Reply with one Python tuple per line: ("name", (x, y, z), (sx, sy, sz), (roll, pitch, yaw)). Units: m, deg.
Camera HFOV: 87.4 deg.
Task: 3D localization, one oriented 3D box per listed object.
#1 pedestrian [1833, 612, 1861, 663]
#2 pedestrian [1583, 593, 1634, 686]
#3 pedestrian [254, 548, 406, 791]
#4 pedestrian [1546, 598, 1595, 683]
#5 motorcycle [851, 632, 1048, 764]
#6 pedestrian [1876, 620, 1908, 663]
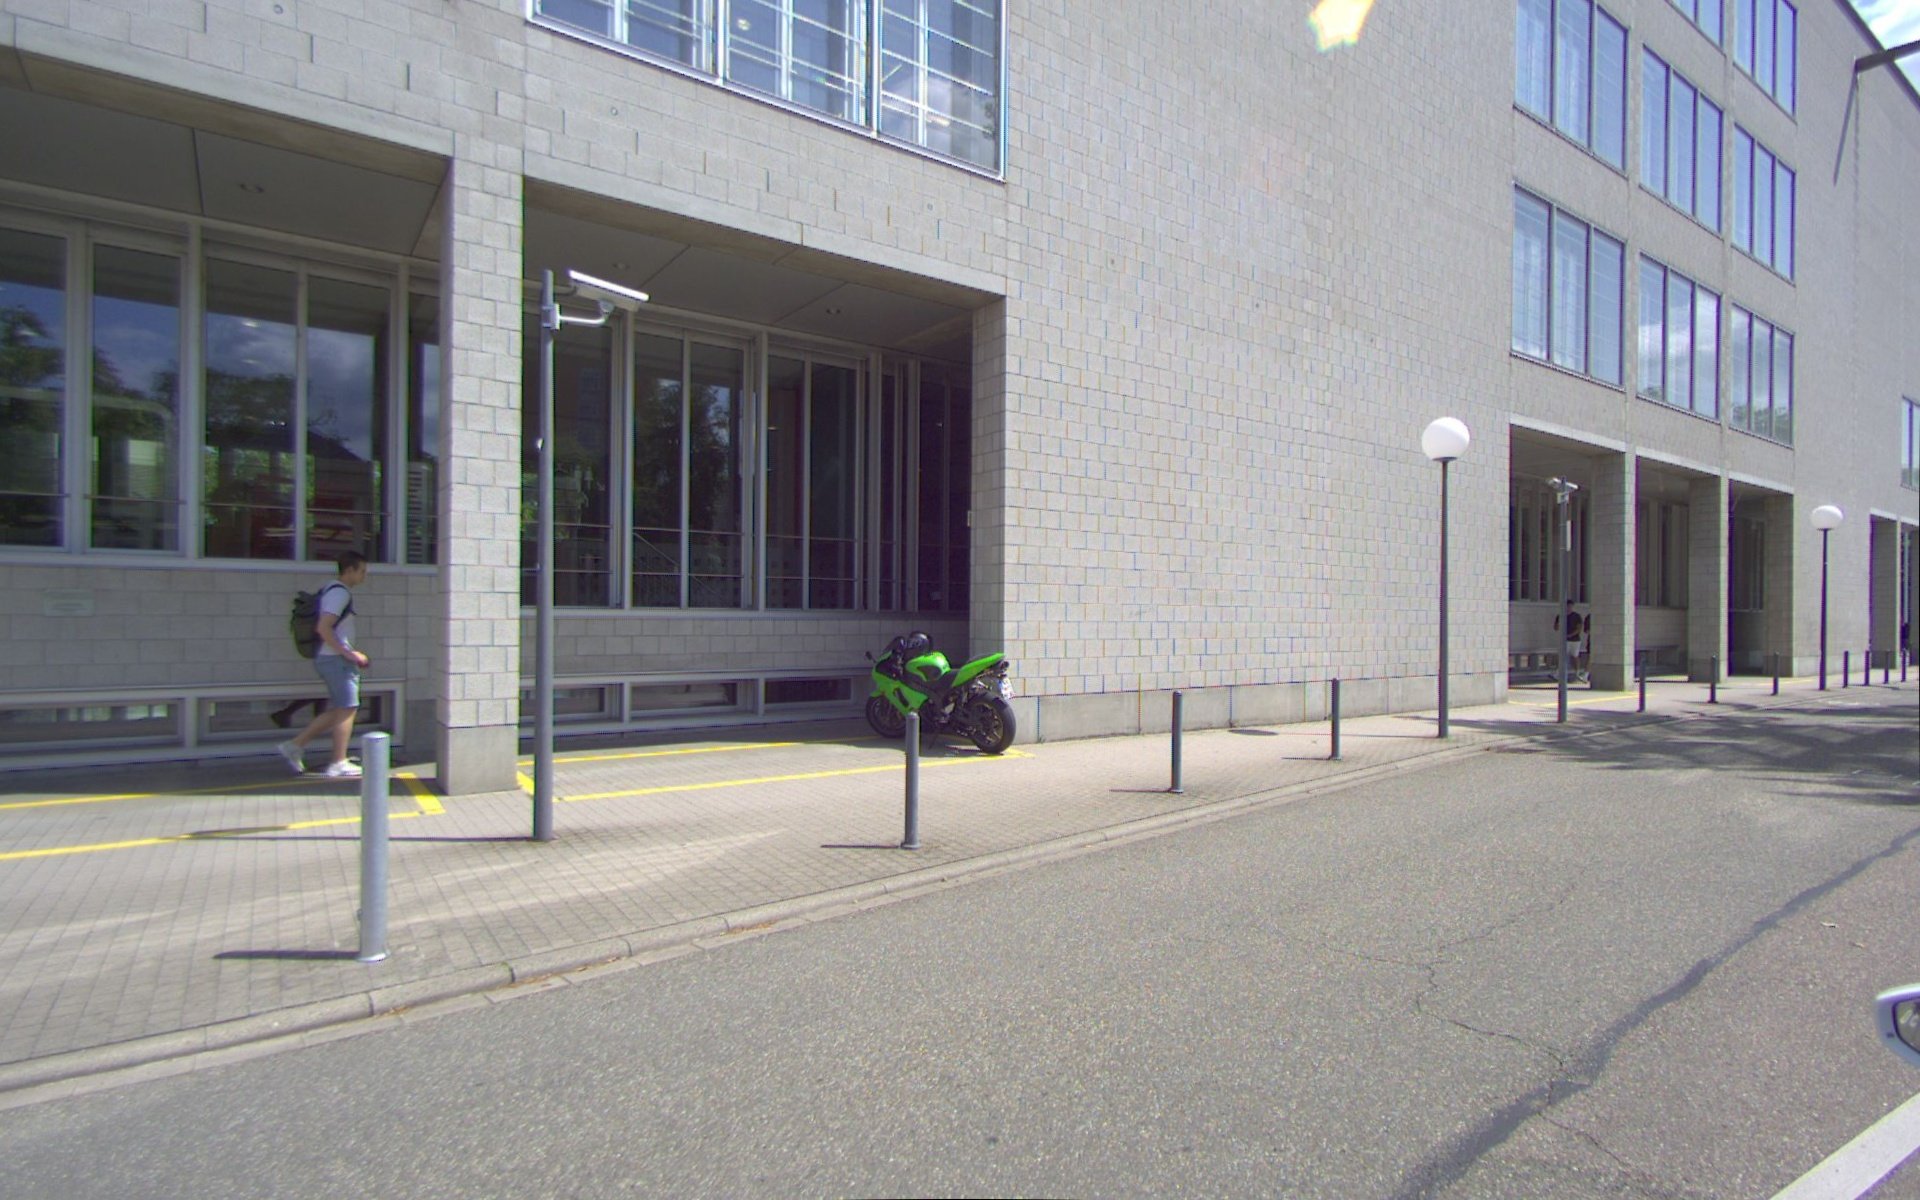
("pedestrian", (42.951, 1.808, 48.654), (0.726, 2.454, 0.756), (1, 0, -19))
("pedestrian", (14.577, 0.863, 22.580), (0.822, 2.040, 0.694), (1, 0, -36))
("pedestrian", (-5.219, 0.539, 8.322), (1.004, 1.863, 0.771), (1, 0, -37))
("pedestrian", (14.094, 0.918, 23.193), (0.713, 1.906, 0.726), (1, 0, -36))
("motorcycle", (-0.157, 0.960, 10.531), (2.143, 1.153, 0.770), (1, 0, 45))
("pedestrian", (45.318, 2.007, 48.839), (1.155, 2.040, 0.976), (1, -1, -40))
